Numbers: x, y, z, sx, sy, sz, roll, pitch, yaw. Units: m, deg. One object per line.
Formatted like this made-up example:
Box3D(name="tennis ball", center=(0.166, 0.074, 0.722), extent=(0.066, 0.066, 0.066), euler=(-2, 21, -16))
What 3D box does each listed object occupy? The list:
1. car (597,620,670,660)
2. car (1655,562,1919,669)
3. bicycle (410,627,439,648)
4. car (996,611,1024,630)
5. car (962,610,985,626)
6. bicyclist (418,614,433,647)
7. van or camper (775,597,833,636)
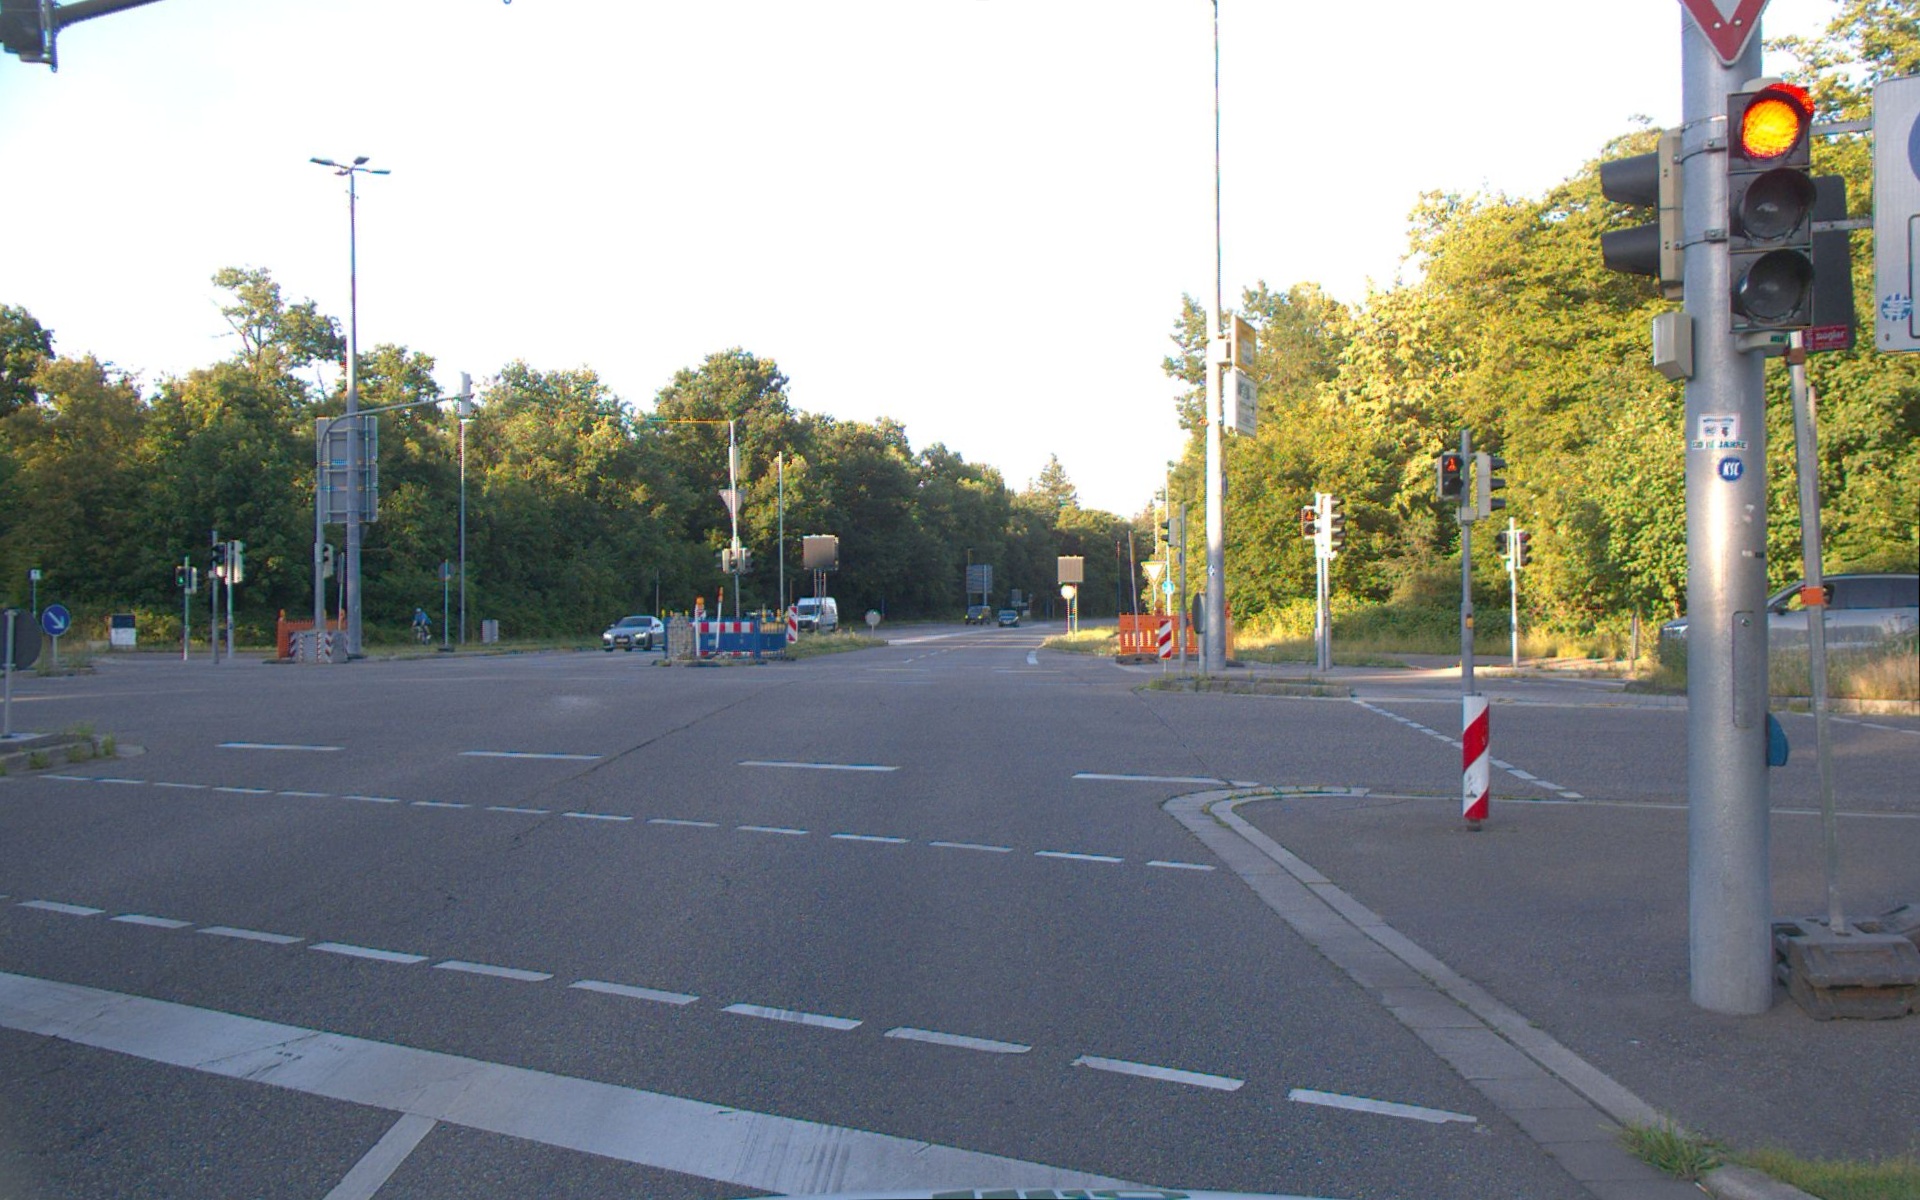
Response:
Box3D(name="car", center=(-13.021, 1.580, 66.244), extent=(1.852, 1.466, 4.501), euler=(0, 0, 2))
Box3D(name="car", center=(13.743, 0.240, 26.494), extent=(4.716, 1.626, 2.000), euler=(-1, 0, 21))
Box3D(name="bicycle", center=(-22.570, 1.587, 69.726), extent=(1.096, 0.840, 0.407), euler=(0, 0, -42))
Box3D(name="car", center=(4.785, 1.980, 158.252), extent=(1.951, 1.668, 4.004), euler=(-2, 1, 11))
Box3D(name="car", center=(1.466, 1.888, 176.961), extent=(1.951, 1.668, 4.003), euler=(0, 0, 7))
Box3D(name="bicyclist", center=(-22.542, 1.279, 69.756), extent=(0.515, 1.411, 0.401), euler=(0, 0, -42))
Box3D(name="van or camper", center=(-11.109, 1.151, 118.699), extent=(2.824, 2.699, 7.126), euler=(0, 0, 6))
